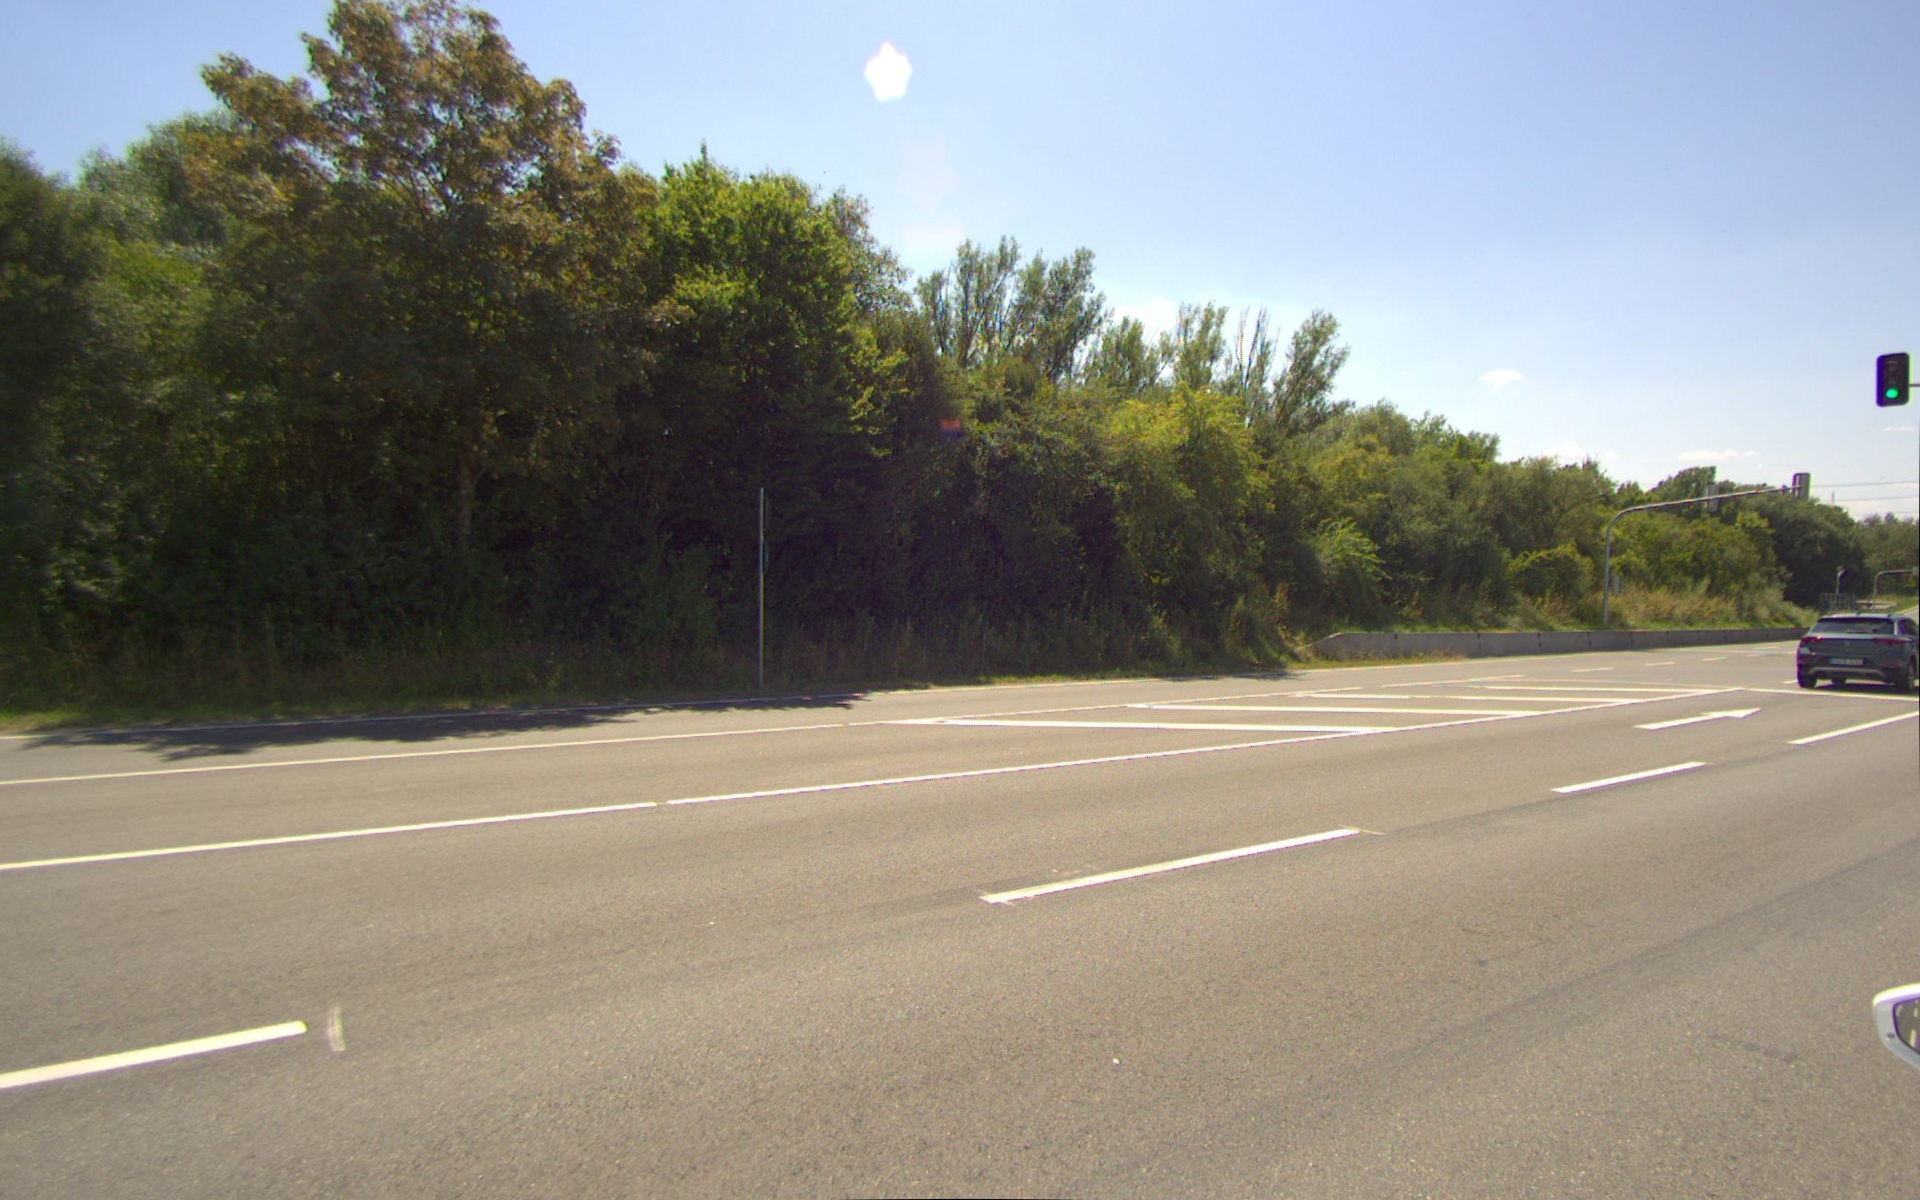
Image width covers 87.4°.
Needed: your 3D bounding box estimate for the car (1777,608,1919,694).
[{"bbox_3d":[19.003,1.008,21.187,4.352,1.607,1.820,1,0,-38],"label":"car"}]
